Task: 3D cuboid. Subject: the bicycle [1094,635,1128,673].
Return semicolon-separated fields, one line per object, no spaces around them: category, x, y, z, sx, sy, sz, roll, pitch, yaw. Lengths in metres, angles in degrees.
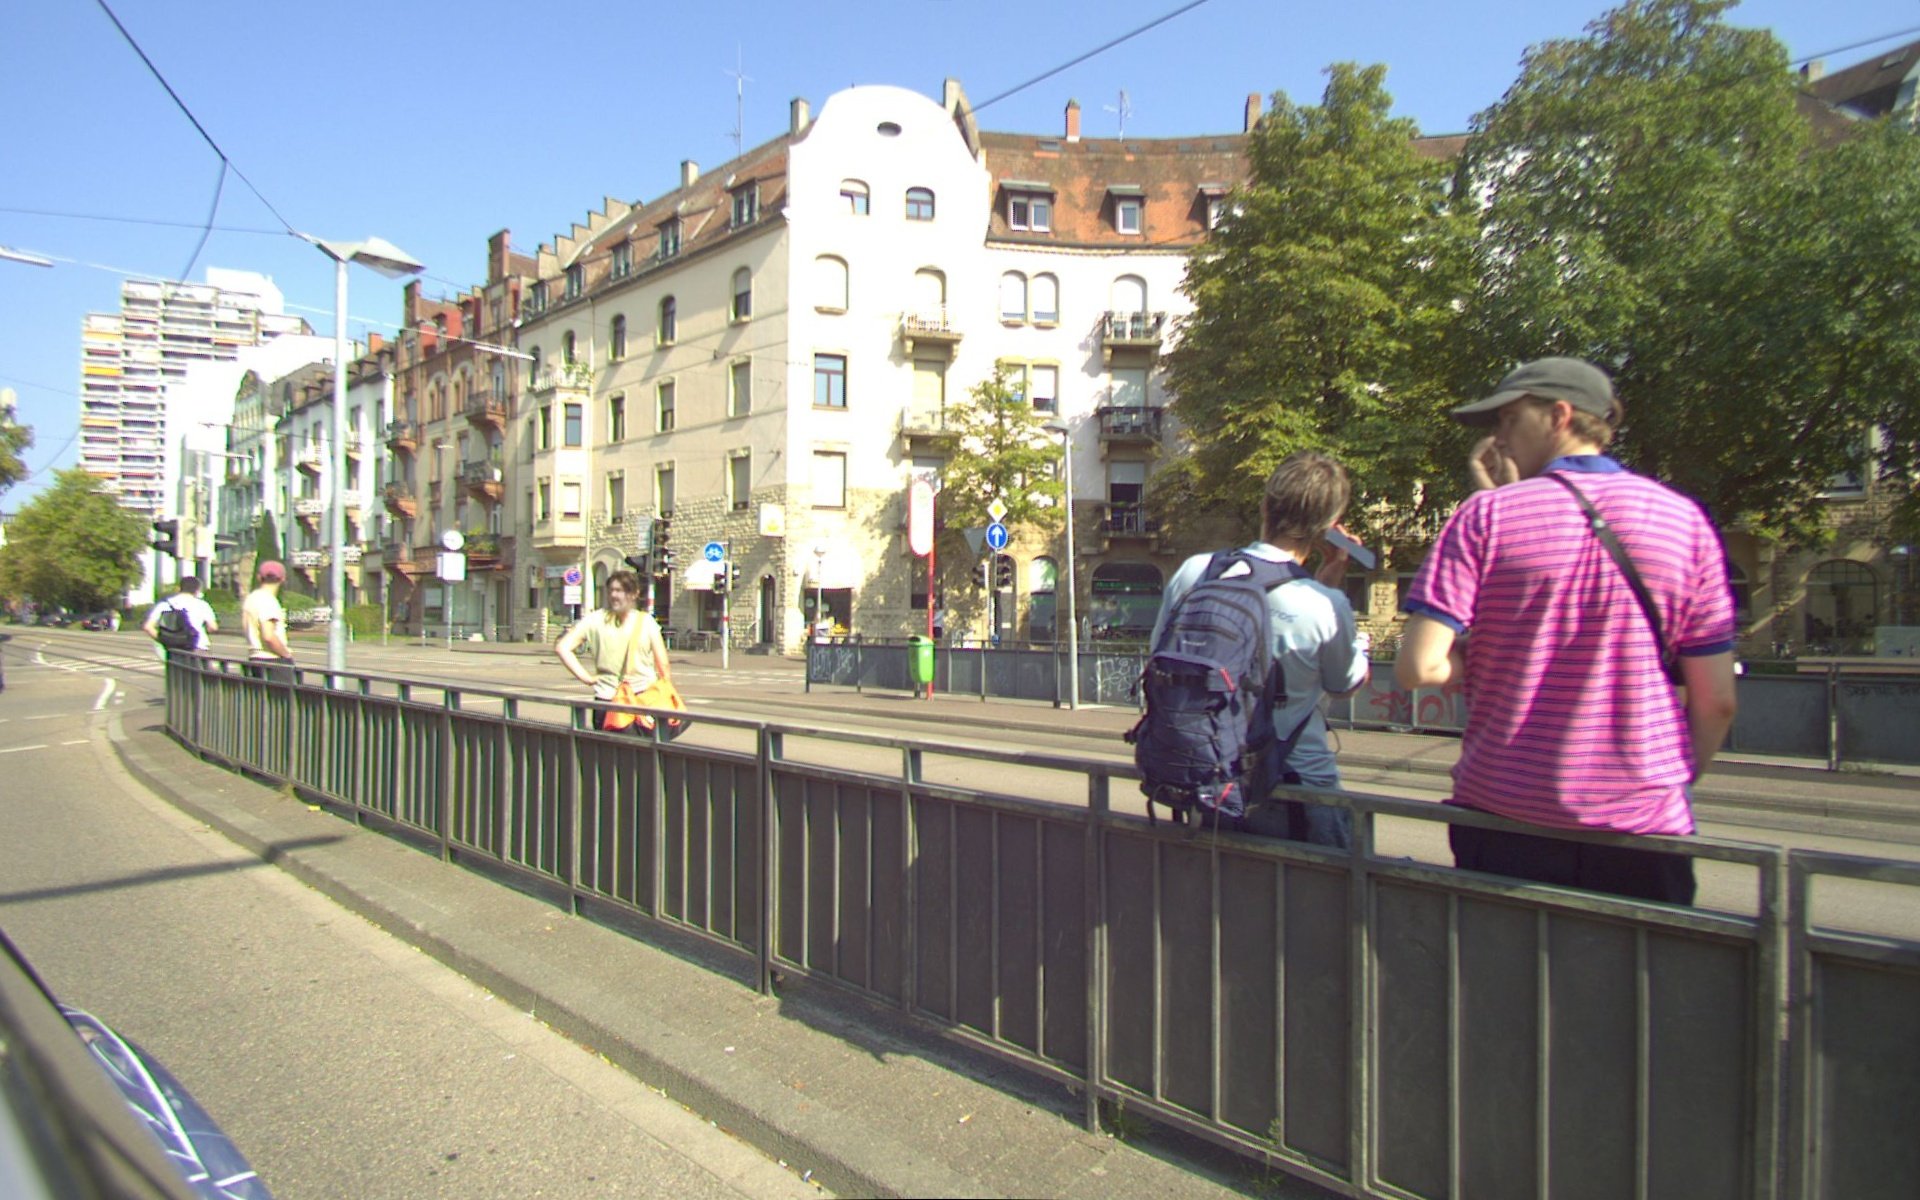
bicycle;4.865;1.726;32.690;0.687;1.087;2.342;1;0;-1

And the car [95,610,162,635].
car;-70.229;1.916;85.539;1.982;2.029;3.980;0;-2;15

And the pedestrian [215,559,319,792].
pedestrian;-5.702;0.595;8.325;0.552;1.816;0.676;2;-2;-45

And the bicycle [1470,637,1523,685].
bicycle;16.440;1.832;31.088;0.859;1.381;2.294;0;-2;13

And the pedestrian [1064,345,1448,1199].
pedestrian;0.690;0.455;2.353;0.634;1.862;0.629;-1;-2;44

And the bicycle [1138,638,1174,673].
bicycle;6.383;1.794;33.090;0.687;1.087;2.342;1;-1;-1

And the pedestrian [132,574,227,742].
pedestrian;-8.709;0.633;11.290;0.720;1.783;0.739;-1;-3;-45

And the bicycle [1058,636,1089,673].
bicycle;3.682;1.755;32.931;0.687;1.087;2.342;1;-1;-1

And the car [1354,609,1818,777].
car;7.394;0.965;12.273;4.483;1.663;1.971;-1;-2;44

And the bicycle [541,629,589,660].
bicycle;-14.548;1.625;37.280;1.888;1.112;0.540;0;-2;29

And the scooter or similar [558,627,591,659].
scooter or similar;-14.486;1.603;38.050;1.081;1.167;0.441;0;-2;6

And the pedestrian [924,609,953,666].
pedestrian;-0.732;1.265;34.358;0.672;1.882;0.726;-1;-2;38

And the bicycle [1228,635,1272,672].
bicycle;9.256;1.691;32.355;0.687;1.087;2.342;1;-1;-1

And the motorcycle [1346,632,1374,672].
motorcycle;12.838;1.641;32.483;0.674;1.186;1.867;0;0;27

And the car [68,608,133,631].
car;-76.792;1.731;90.498;1.982;2.029;3.980;0;-2;15

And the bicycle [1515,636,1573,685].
bicycle;17.718;1.806;30.771;0.859;1.381;2.294;0;-2;13

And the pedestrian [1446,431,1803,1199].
pedestrian;1.659;0.539;2.531;0.634;1.761;0.629;-1;-2;44

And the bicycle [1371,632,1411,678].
bicycle;13.694;1.713;32.130;0.864;1.381;2.279;0;-2;31

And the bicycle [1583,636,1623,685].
bicycle;19.148;1.782;30.157;0.864;1.381;2.280;0;-2;29

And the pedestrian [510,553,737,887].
pedestrian;-1.853;0.610;5.631;0.863;1.667;0.807;0;-2;28

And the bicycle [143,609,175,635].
bicycle;-59.852;1.617;75.607;3.549;1.872;1.003;0;0;36

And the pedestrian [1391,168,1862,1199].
pedestrian;1.261;0.302;1.922;0.634;1.862;0.629;-1;-2;44

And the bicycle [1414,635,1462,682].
bicycle;14.977;1.800;31.750;0.859;1.381;2.294;0;-2;13

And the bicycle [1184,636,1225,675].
bicycle;7.770;1.750;32.299;0.687;1.087;2.342;1;0;-1
